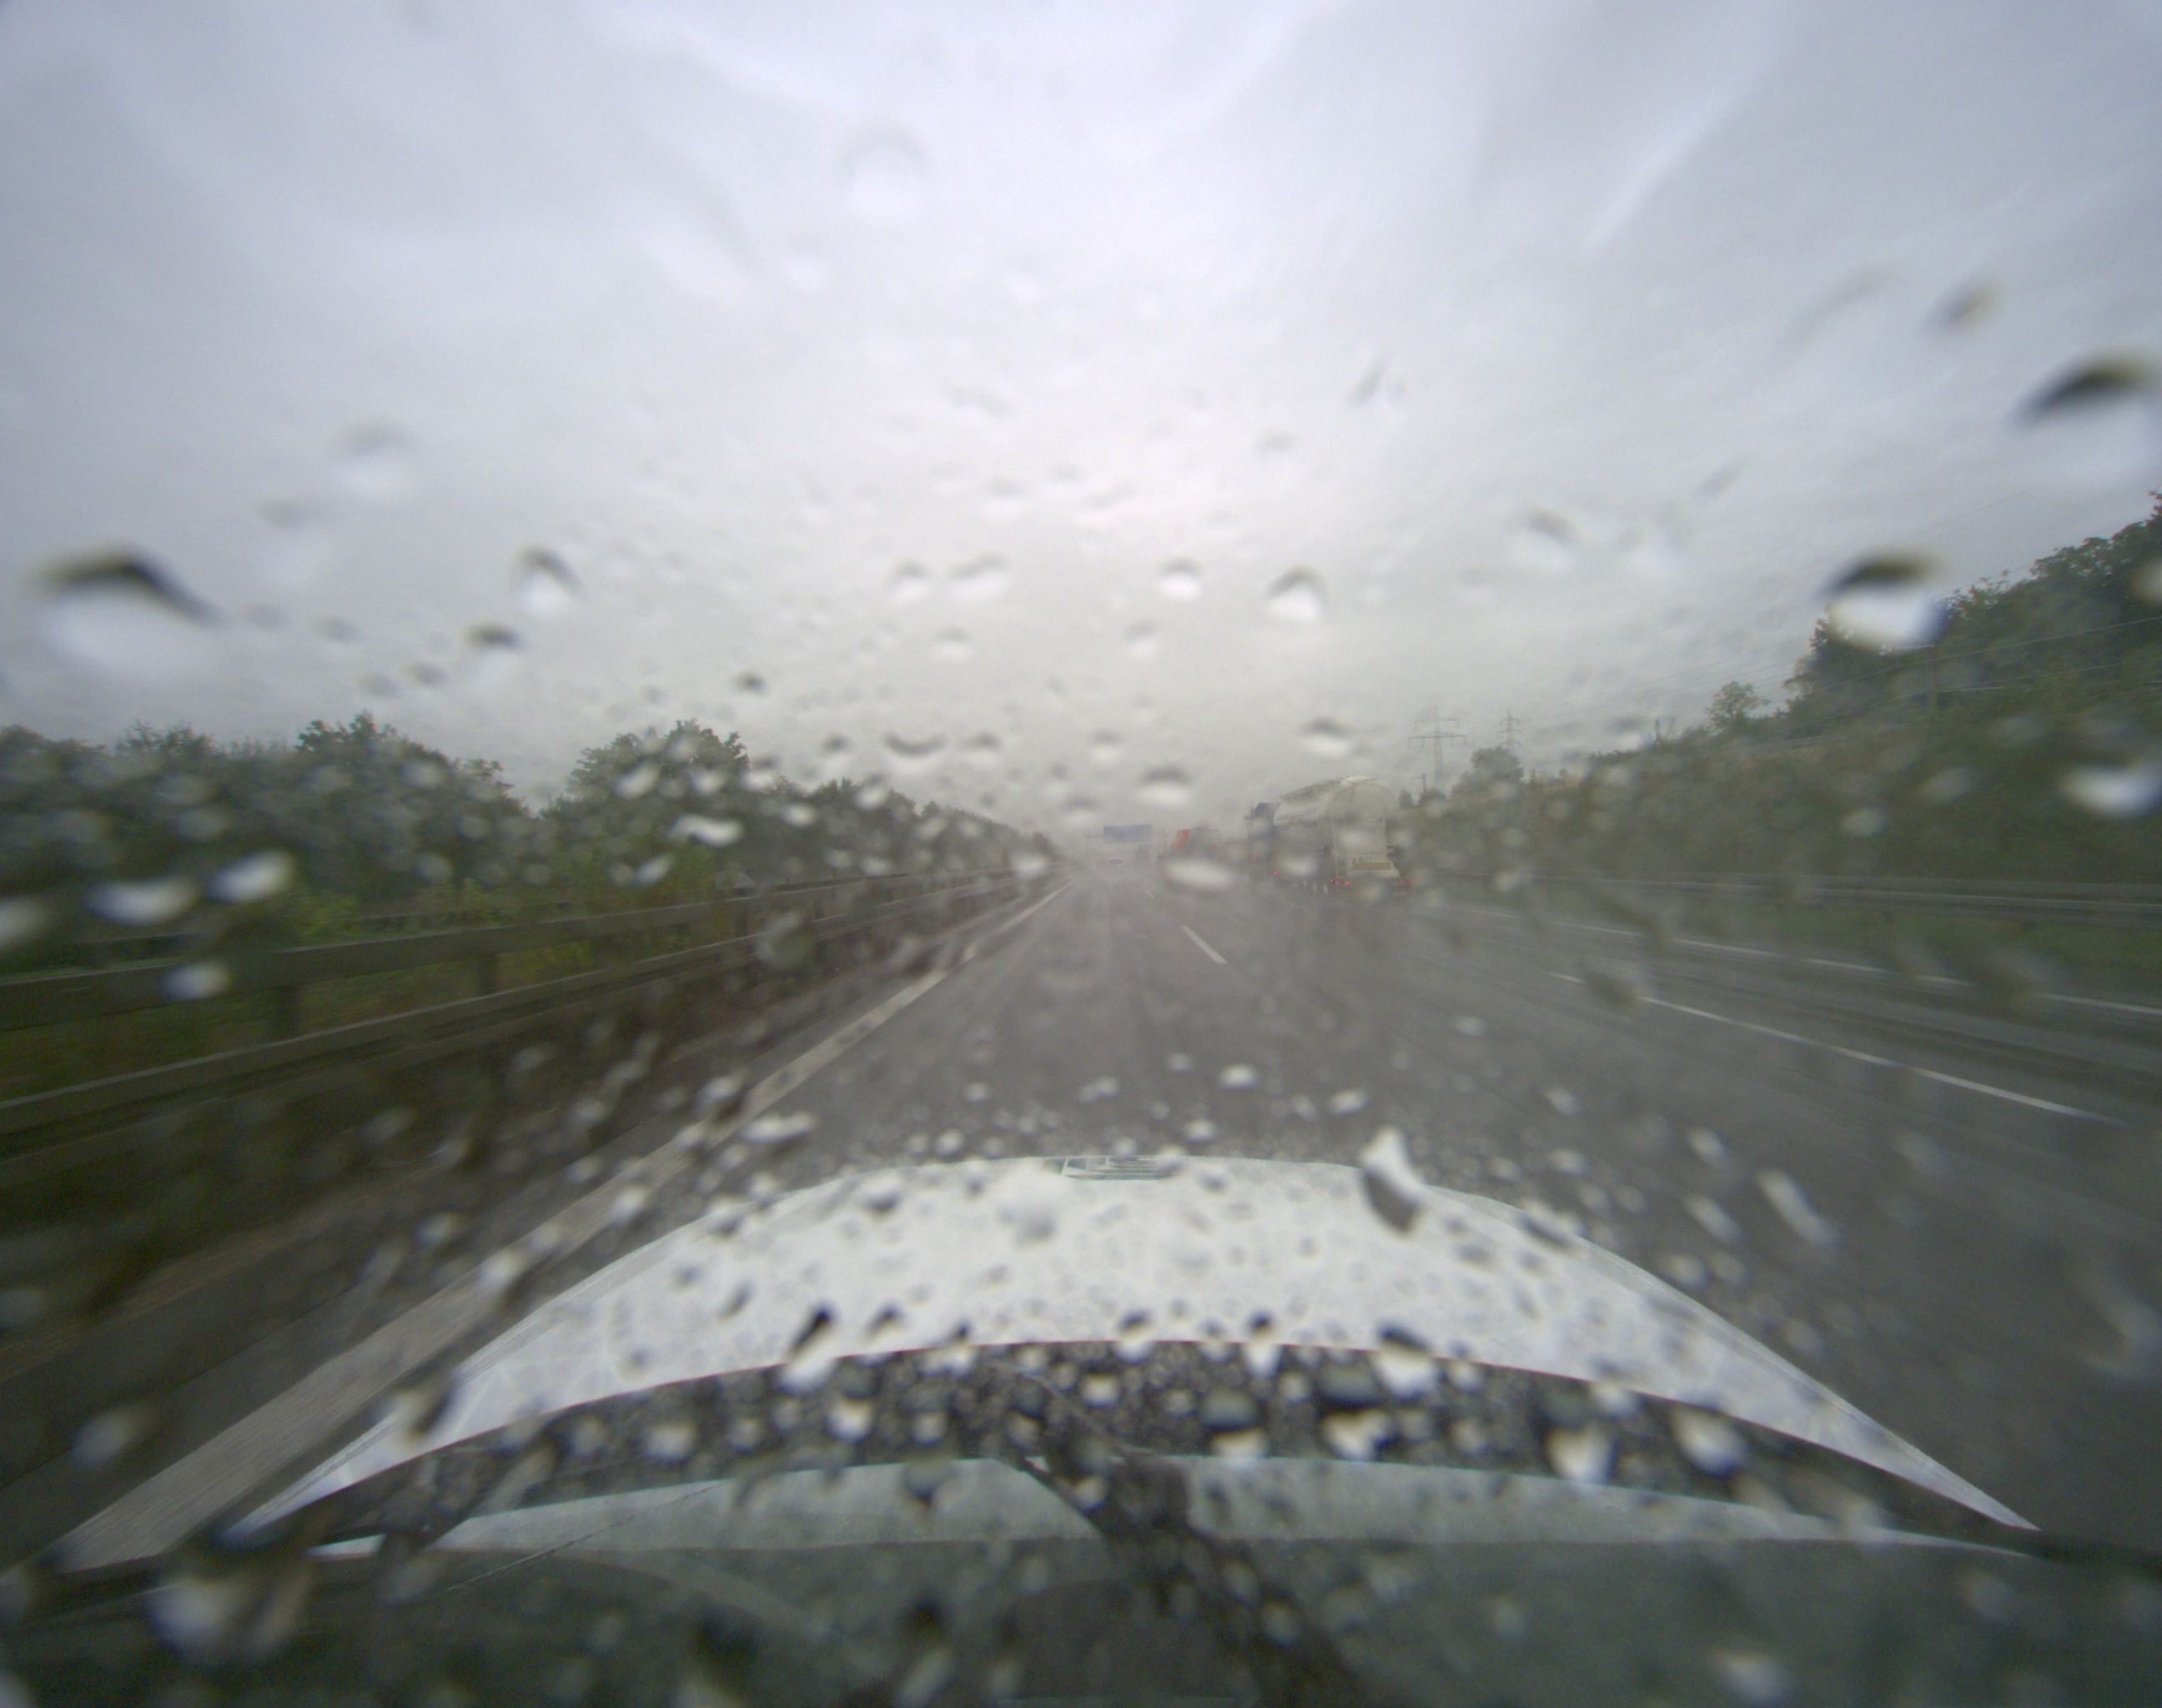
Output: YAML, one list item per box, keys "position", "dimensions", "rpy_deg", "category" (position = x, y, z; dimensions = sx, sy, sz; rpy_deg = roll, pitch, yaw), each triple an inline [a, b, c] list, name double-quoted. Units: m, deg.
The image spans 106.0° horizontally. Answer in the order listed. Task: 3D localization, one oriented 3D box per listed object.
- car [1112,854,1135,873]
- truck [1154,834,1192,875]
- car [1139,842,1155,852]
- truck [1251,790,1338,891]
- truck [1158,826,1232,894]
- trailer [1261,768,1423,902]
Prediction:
- position: [3.212, 0.699, 62.155]
  dimensions: [1.599, 1.338, 3.850]
  rpy_deg: [-1, 0, 2]
  category: "car"
- position: [11.039, 0.185, 99.465]
  dimensions: [3.029, 4.588, 16.352]
  rpy_deg: [-1, -1, 1]
  category: "truck"
- position: [12.924, -1.327, 159.476]
  dimensions: [2.778, 2.013, 4.994]
  rpy_deg: [-1, 0, 1]
  category: "car"
- position: [9.012, -0.551, 34.931]
  dimensions: [2.488, 3.983, 5.077]
  rpy_deg: [-1, 0, 1]
  category: "truck"
- position: [4.448, 0.215, 32.722]
  dimensions: [2.410, 2.492, 5.563]
  rpy_deg: [-1, 0, 2]
  category: "truck"
- position: [8.871, -0.575, 29.372]
  dimensions: [2.488, 3.882, 11.069]
  rpy_deg: [-1, 0, 1]
  category: "trailer"
